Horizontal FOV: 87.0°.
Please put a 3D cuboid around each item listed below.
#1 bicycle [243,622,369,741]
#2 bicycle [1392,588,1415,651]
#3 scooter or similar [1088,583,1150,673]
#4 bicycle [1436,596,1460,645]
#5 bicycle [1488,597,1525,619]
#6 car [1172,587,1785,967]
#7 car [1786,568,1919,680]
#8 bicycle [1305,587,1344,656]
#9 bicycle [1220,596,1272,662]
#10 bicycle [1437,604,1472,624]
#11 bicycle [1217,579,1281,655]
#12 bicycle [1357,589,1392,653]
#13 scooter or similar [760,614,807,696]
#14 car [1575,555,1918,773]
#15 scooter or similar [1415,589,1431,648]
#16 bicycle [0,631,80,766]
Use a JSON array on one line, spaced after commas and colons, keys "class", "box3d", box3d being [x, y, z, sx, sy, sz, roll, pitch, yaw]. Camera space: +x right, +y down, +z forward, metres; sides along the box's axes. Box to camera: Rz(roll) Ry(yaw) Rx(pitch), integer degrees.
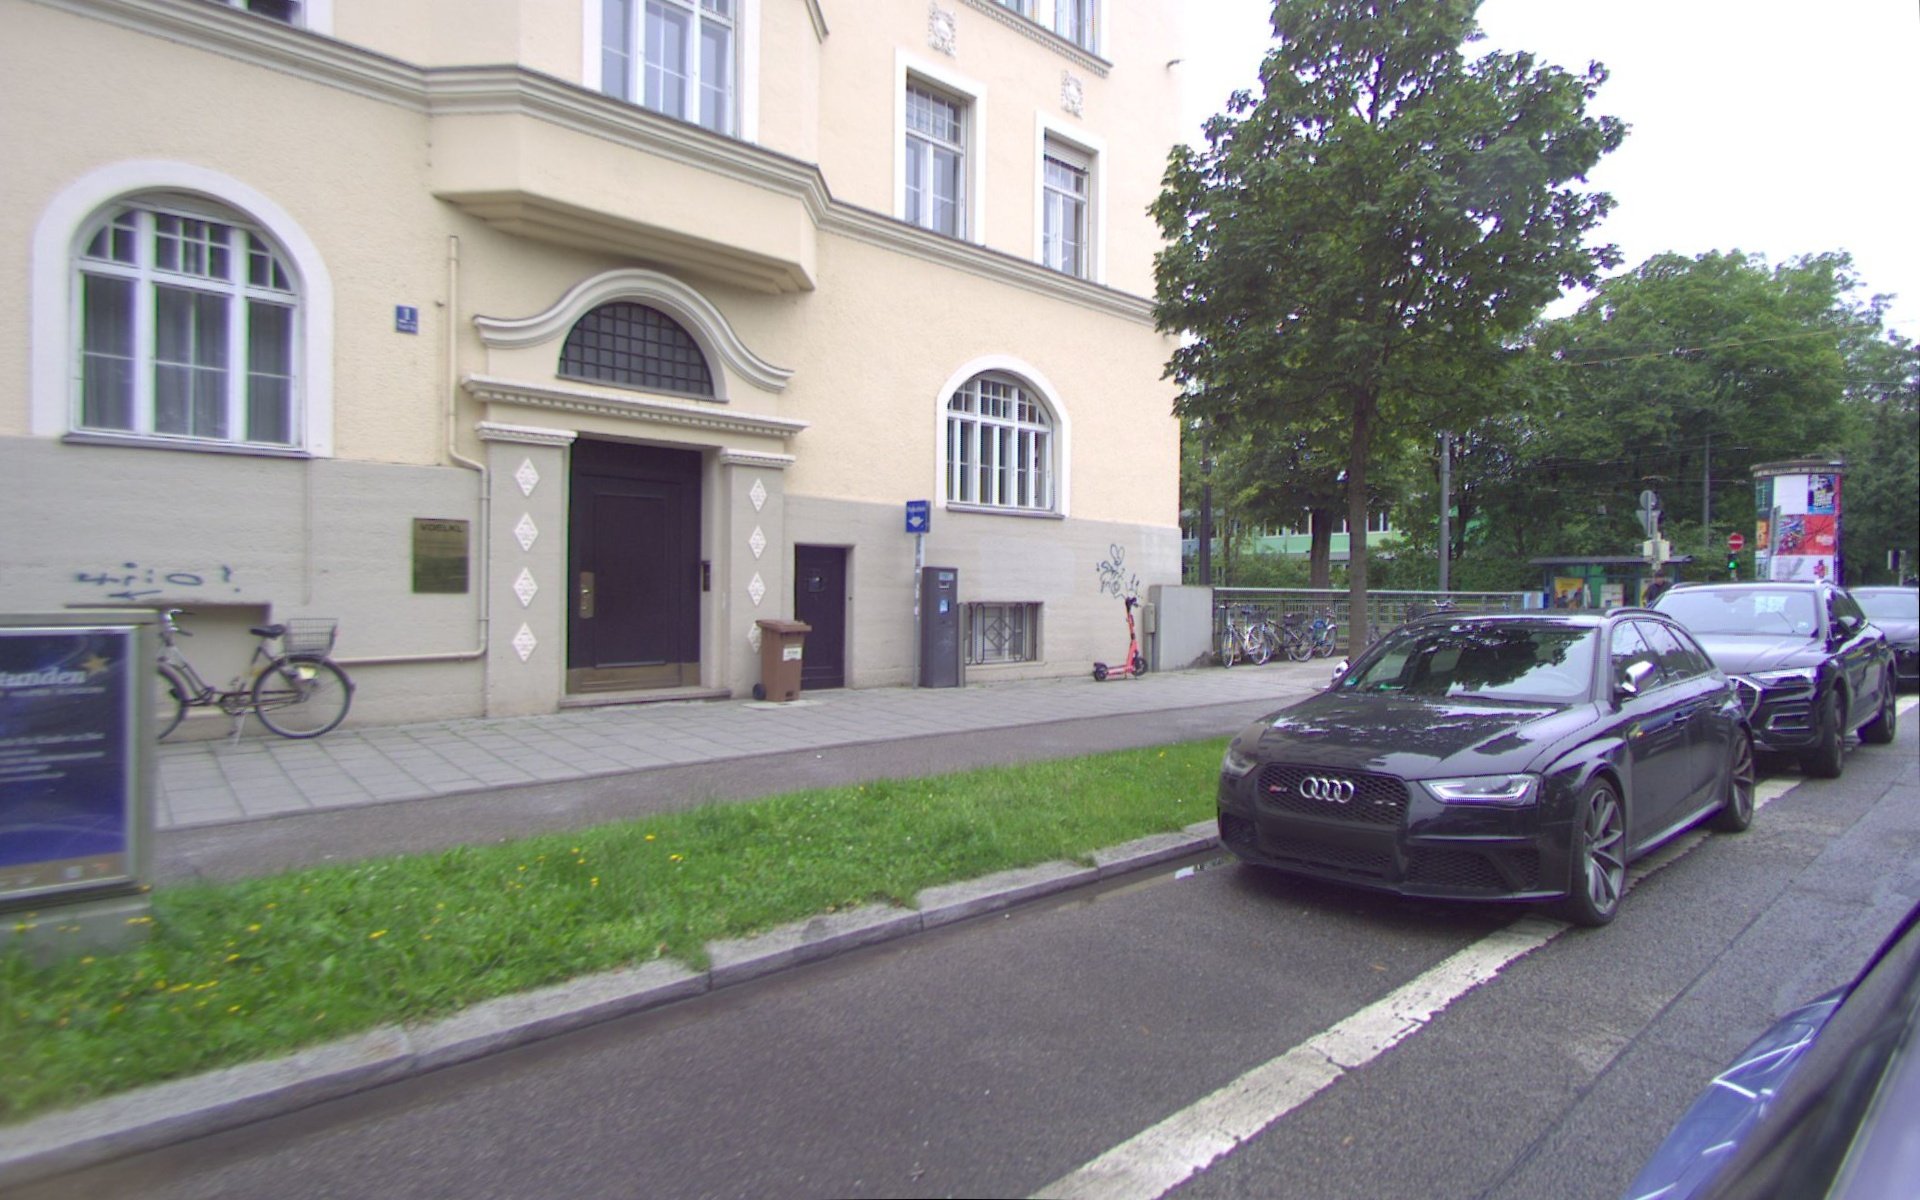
[{"class": "bicycle", "box3d": [-5.540, 0.667, 8.590, 0.870, 0.942, 0.222, -1, -1, -42]}, {"class": "bicycle", "box3d": [9.531, 0.401, 21.745, 0.280, 1.298, 1.395, -2, -1, 29]}, {"class": "scooter or similar", "box3d": [2.434, 0.410, 15.438, 1.123, 1.329, 0.261, -1, -1, -43]}, {"class": "bicycle", "box3d": [11.403, 0.469, 23.627, 0.263, 1.096, 1.524, -2, -1, 34]}, {"class": "bicycle", "box3d": [25.044, 0.356, 46.425, 0.366, 0.964, 1.483, 0, 1, -38]}, {"class": "car", "box3d": [3.352, 0.672, 6.048, 4.523, 1.444, 1.718, -1, 0, -41]}, {"class": "car", "box3d": [15.351, 0.362, 16.662, 4.582, 1.630, 1.904, 0, -1, -40]}, {"class": "bicycle", "box3d": [7.094, 0.400, 19.674, 0.281, 1.298, 1.391, -2, -1, 38]}, {"class": "bicycle", "box3d": [5.113, 0.494, 18.053, 0.286, 1.120, 1.421, 0, 0, 42]}, {"class": "bicycle", "box3d": [23.644, 0.663, 48.402, 0.366, 0.964, 1.483, 0, 1, -38]}, {"class": "bicycle", "box3d": [5.228, 0.284, 18.264, 1.511, 1.329, 0.332, -1, -1, -42]}, {"class": "bicycle", "box3d": [8.612, 0.420, 21.010, 0.281, 1.298, 1.391, -2, -1, 38]}, {"class": "scooter or similar", "box3d": [-2.036, 0.629, 11.705, 0.345, 0.922, 0.417, -1, -1, 29]}, {"class": "car", "box3d": [7.830, 0.475, 9.913, 4.408, 1.679, 1.777, -1, 0, -40]}, {"class": "scooter or similar", "box3d": [10.259, 0.395, 22.394, 0.242, 1.279, 1.482, -1, -1, 26]}, {"class": "bicycle", "box3d": [-6.934, 0.710, 7.304, 0.870, 0.942, 0.286, -1, -1, -40]}]
